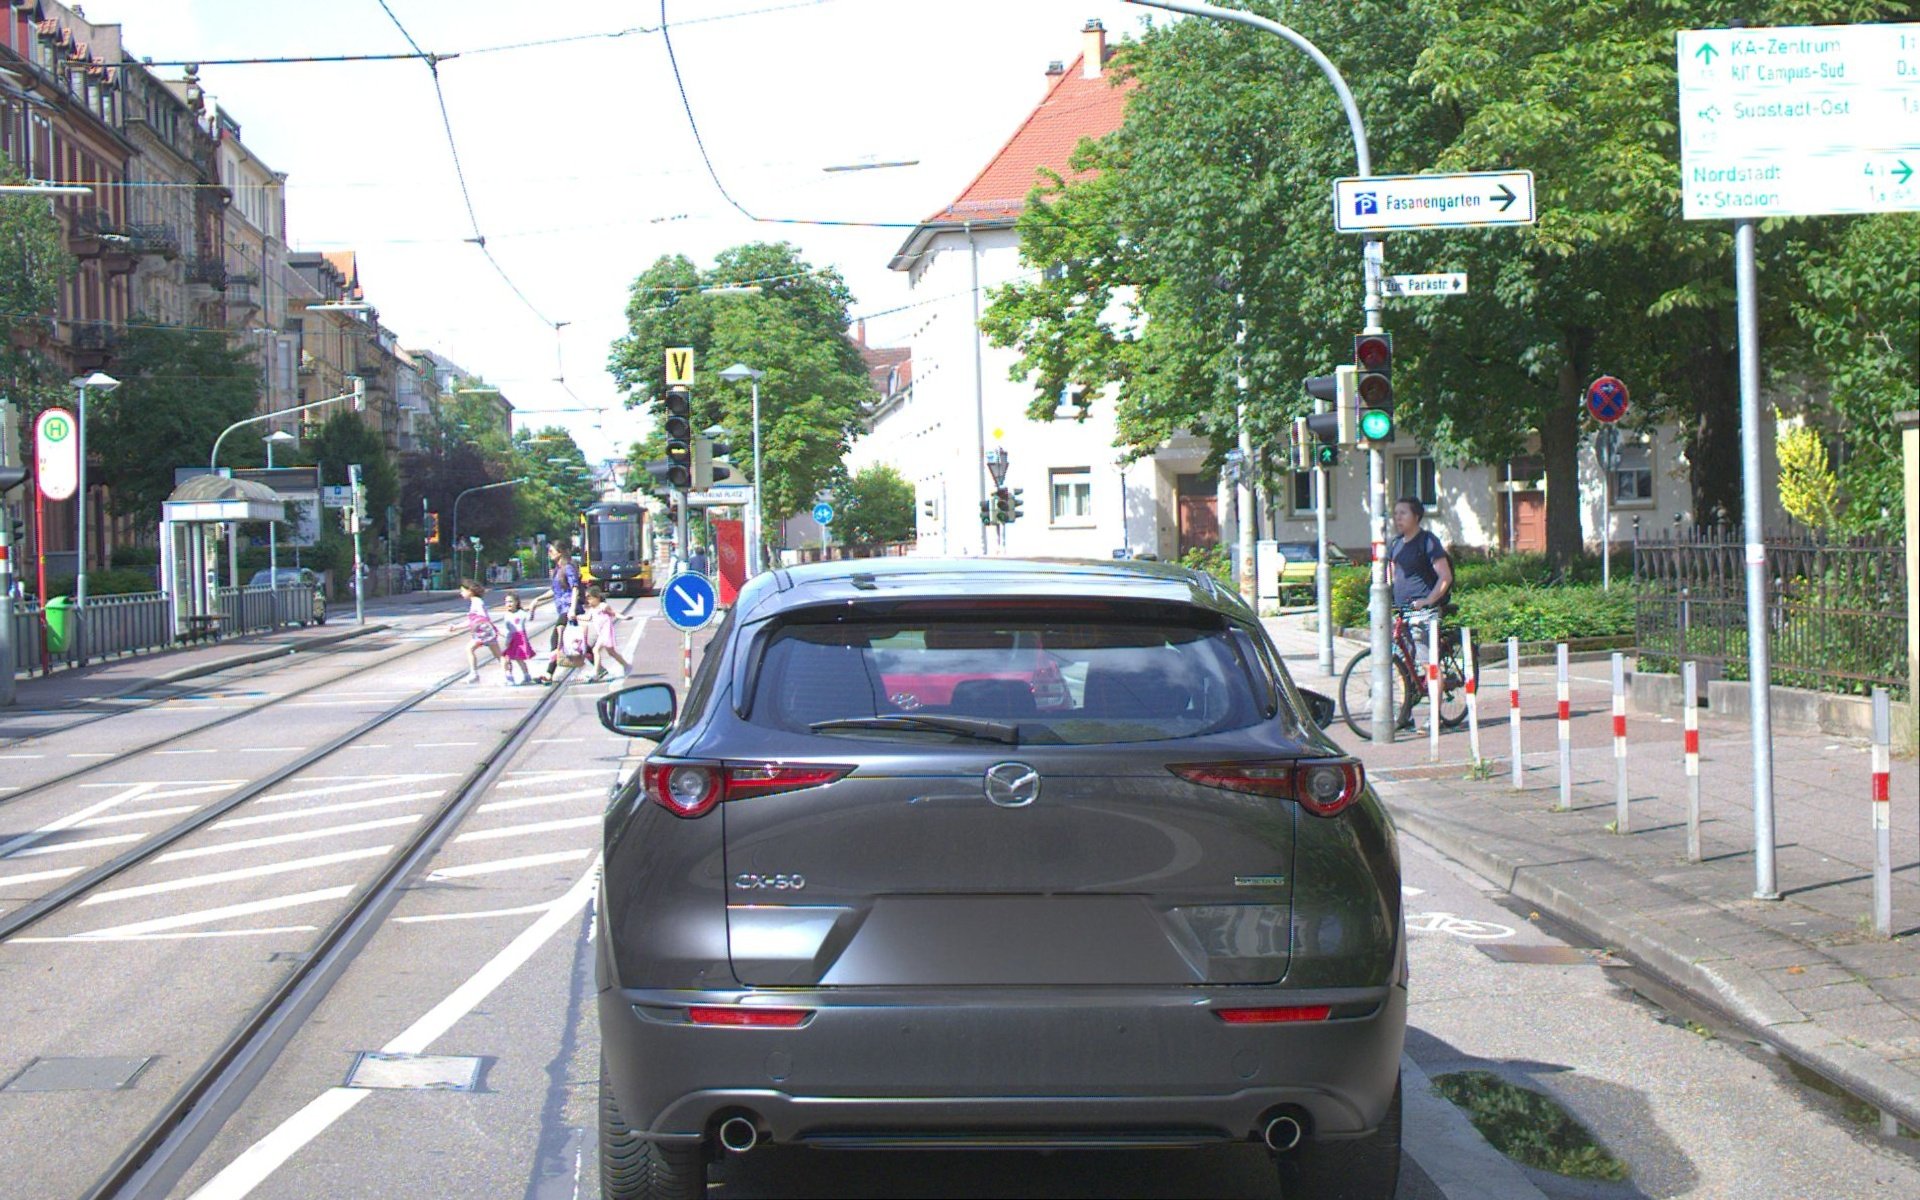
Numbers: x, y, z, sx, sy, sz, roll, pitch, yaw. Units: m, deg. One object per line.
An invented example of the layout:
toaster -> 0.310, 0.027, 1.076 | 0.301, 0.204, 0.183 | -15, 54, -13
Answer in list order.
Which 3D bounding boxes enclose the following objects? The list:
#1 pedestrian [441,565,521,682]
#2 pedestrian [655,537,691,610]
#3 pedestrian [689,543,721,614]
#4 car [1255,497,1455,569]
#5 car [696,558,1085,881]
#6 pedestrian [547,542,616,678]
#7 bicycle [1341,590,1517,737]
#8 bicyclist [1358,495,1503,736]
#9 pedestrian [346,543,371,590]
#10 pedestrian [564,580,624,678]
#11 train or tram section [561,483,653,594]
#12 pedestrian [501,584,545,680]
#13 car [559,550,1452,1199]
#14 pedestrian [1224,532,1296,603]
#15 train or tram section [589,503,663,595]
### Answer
pedestrian -> -5.599, 0.267, 40.163 | 0.825, 1.299, 0.717 | -4, 1, -9
pedestrian -> -6.622, -0.617, 79.308 | 0.770, 1.669, 0.668 | -2, 1, -5
pedestrian -> -5.671, -0.480, 76.467 | 0.667, 1.540, 0.581 | -1, 1, -5
car -> 9.023, -1.524, 78.669 | 4.167, 1.504, 1.848 | -1, 3, 38
car -> -0.371, 0.524, 17.632 | 1.775, 1.459, 3.843 | 0, 1, -2
pedestrian -> -4.455, 0.114, 40.399 | 0.728, 1.560, 0.799 | -2, 1, -9
bicycle -> 3.658, 0.477, 26.700 | 0.389, 1.032, 1.841 | -1, 2, 40
bicyclist -> 3.631, 0.110, 26.576 | 0.733, 1.813, 0.820 | -2, 1, -27
pedestrian -> -22.154, -1.239, 126.629 | 0.788, 1.682, 0.732 | -1, 1, -3
pedestrian -> -4.236, 0.328, 39.810 | 0.641, 1.110, 0.444 | -2, 1, -9
train or tram section -> -13.434, -2.245, 131.764 | 2.997, 3.970, 13.811 | -2, 0, -4
pedestrian -> -5.171, 0.380, 40.700 | 0.437, 1.104, 0.423 | -4, 1, -9
car -> 0.077, 0.647, 8.924 | 1.782, 1.509, 4.000 | 1, 1, 0
pedestrian -> 5.703, -0.619, 65.379 | 1.192, 1.264, 0.558 | -4, 1, -9
train or tram section -> -15.400, -2.267, 159.315 | 2.997, 3.970, 13.811 | -2, 0, -4
